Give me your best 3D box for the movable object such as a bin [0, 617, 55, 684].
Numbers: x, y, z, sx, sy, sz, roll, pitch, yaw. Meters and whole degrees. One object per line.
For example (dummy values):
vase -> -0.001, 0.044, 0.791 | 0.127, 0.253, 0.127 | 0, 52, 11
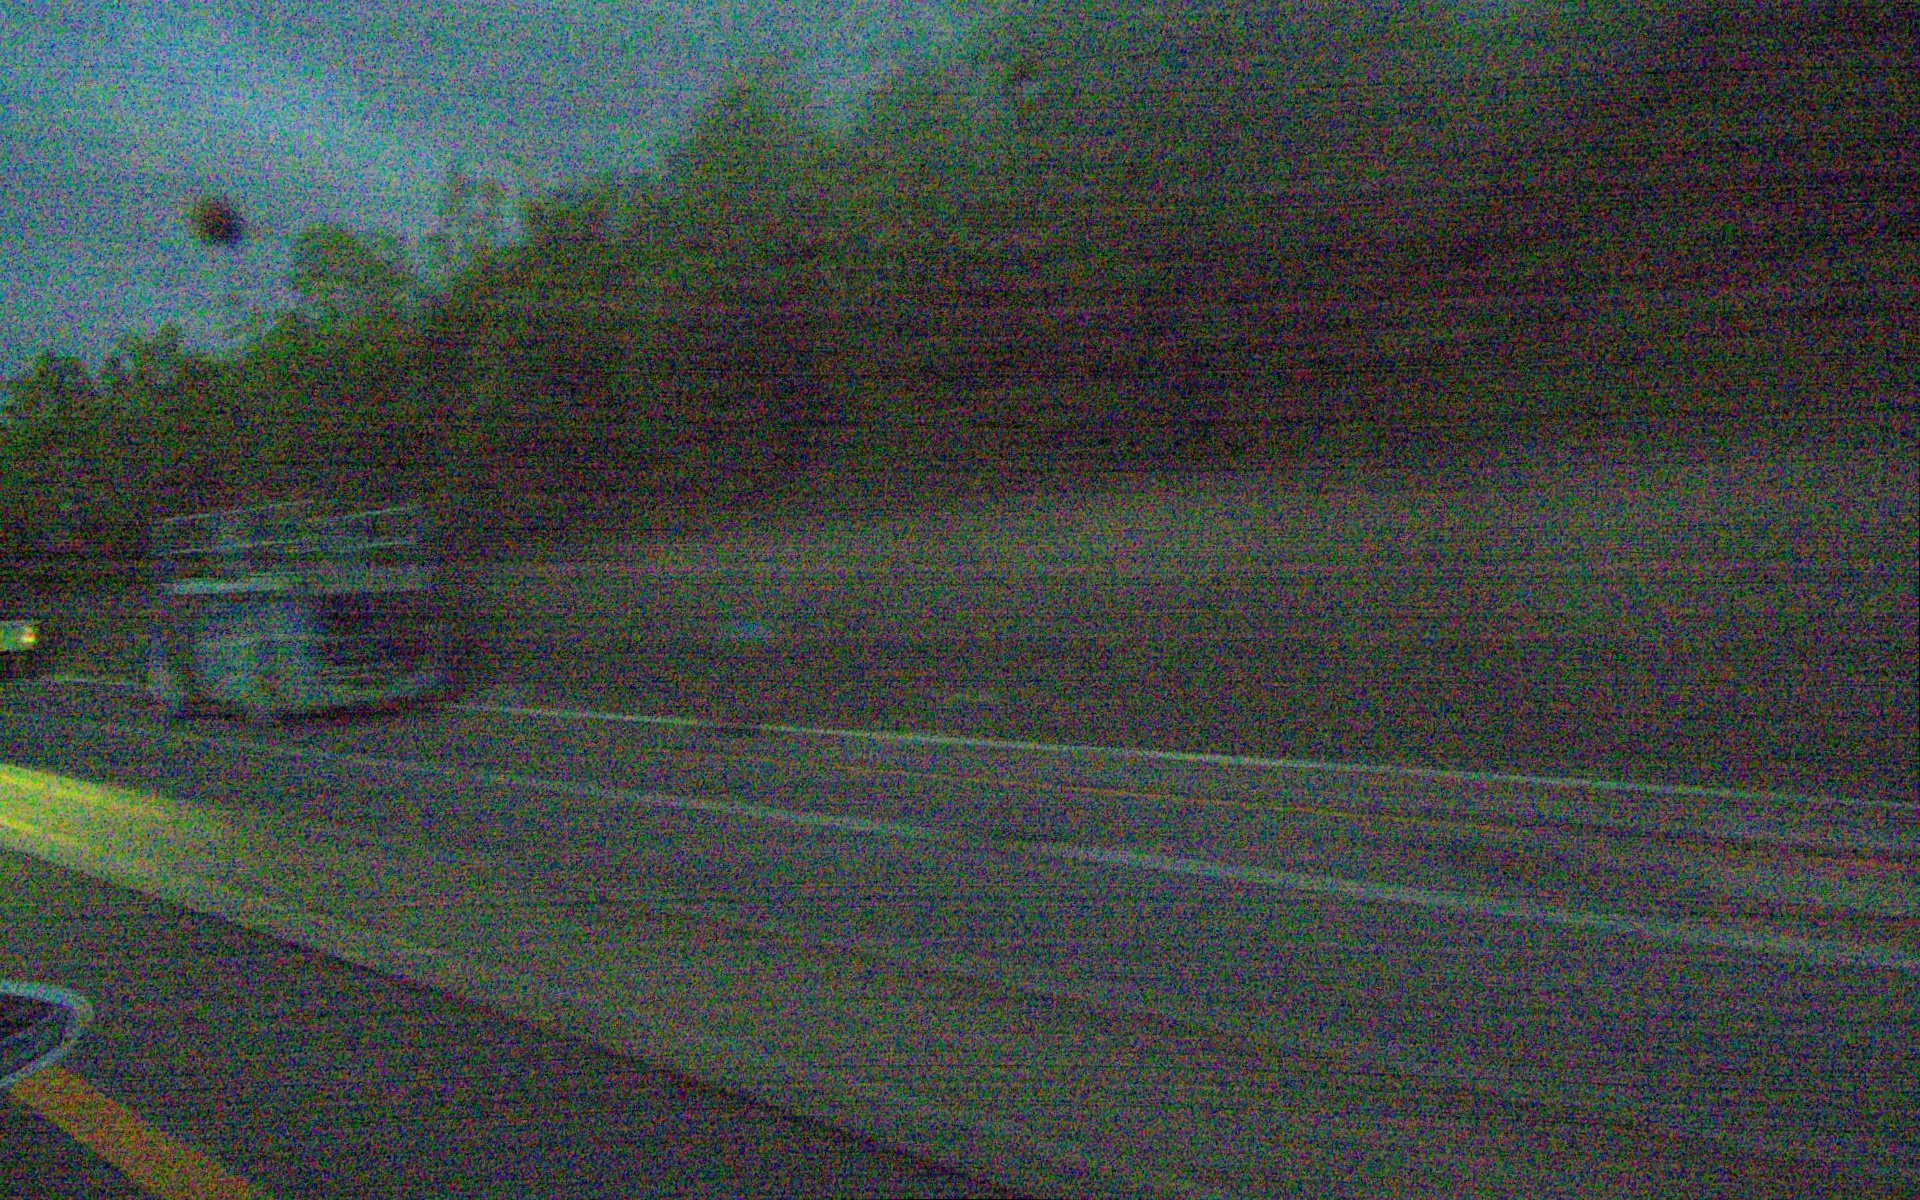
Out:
movable object such as a bin -> -25.545, 1.332, 26.056 | 4.028, 1.623, 1.988 | -2, 0, 33

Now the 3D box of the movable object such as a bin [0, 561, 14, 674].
movable object such as a bin -> -29.731, 0.549, 28.594 | 5.723, 3.149, 2.615 | -1, 0, 32

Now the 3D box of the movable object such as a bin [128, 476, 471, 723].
movable object such as a bin -> -10.775, 0.044, 16.230 | 5.500, 3.362, 2.558 | -1, 0, 32
